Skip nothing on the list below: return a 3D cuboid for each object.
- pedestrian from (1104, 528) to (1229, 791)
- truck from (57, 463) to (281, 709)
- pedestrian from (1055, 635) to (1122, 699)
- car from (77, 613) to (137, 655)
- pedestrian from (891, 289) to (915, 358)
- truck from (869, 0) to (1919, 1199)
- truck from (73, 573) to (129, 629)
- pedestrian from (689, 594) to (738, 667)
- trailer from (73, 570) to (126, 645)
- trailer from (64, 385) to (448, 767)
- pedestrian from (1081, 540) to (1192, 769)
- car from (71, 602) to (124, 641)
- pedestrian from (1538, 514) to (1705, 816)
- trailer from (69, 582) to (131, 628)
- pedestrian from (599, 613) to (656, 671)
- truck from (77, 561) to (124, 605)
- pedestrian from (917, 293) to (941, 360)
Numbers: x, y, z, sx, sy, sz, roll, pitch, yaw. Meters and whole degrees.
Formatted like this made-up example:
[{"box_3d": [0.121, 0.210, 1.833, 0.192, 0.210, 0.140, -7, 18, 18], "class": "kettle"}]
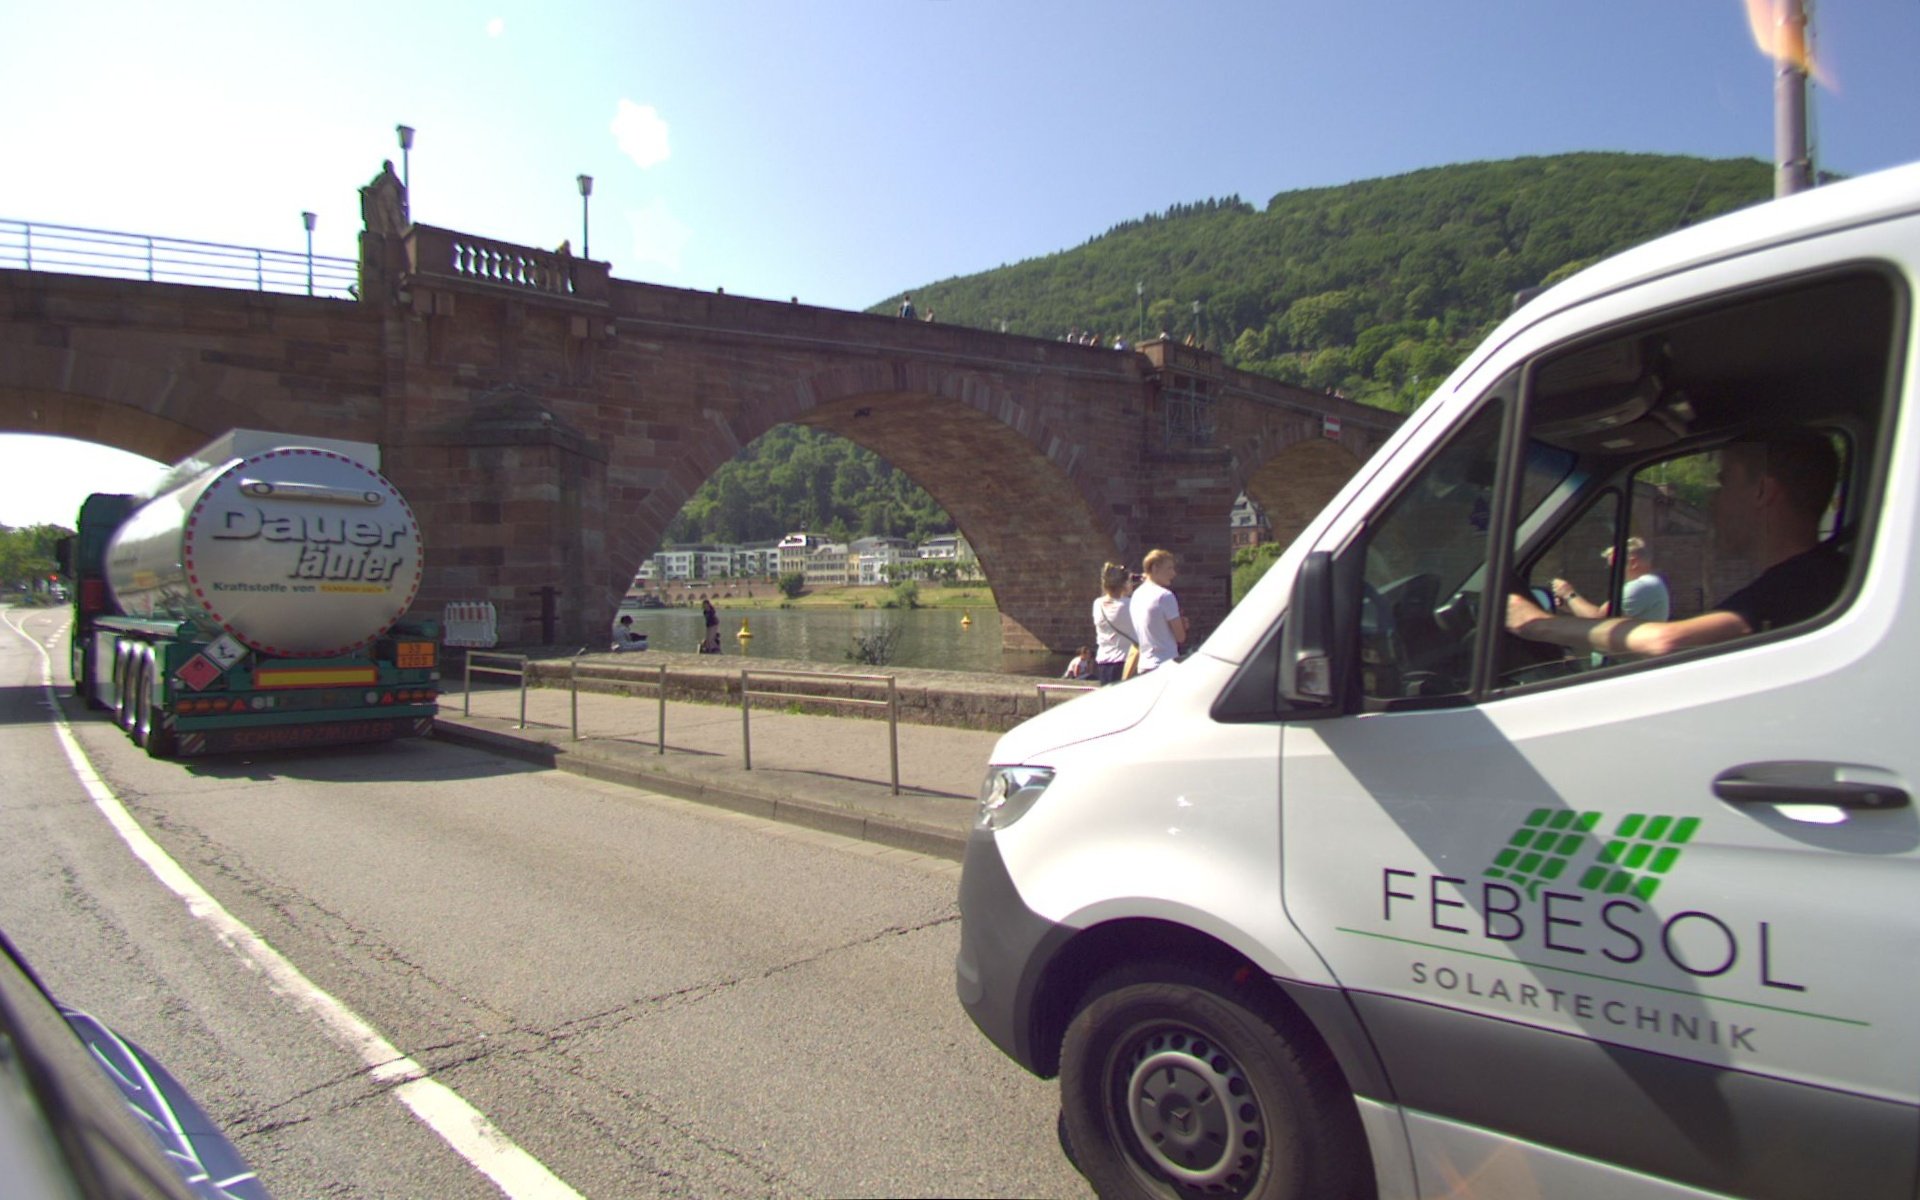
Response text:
[{"box_3d": [1.495, 0.401, 7.419, 0.513, 1.806, 0.824, -1, 0, -19], "class": "pedestrian"}, {"box_3d": [-14.704, -0.131, 18.636, 2.494, 3.777, 6.250, 2, -2, -44], "class": "truck"}, {"box_3d": [2.442, 1.261, 19.259, 0.954, 1.139, 0.832, 0, -1, -41], "class": "pedestrian"}, {"box_3d": [-31.914, 1.243, 37.838, 1.516, 1.447, 3.732, 2, -1, -43], "class": "car"}, {"box_3d": [-1.854, -8.964, 32.805, 0.639, 2.029, 0.461, 1, 0, 40], "class": "pedestrian"}, {"box_3d": [3.425, -0.288, 1.145, 7.605, 3.286, 2.352, -2, -3, 40], "class": "truck"}, {"box_3d": [-56.879, 0.019, 67.122, 2.609, 3.483, 7.885, 2, 0, -40], "class": "truck"}, {"box_3d": [-5.807, 0.712, 23.834, 0.774, 1.663, 0.779, -2, 0, 42], "class": "pedestrian"}, {"box_3d": [-39.876, 0.350, 46.884, 1.720, 3.345, 3.388, 2, -1, -41], "class": "trailer"}, {"box_3d": [-10.808, -0.146, 14.678, 11.536, 3.672, 2.495, -1, -2, 45], "class": "trailer"}, {"box_3d": [1.459, 0.426, 8.460, 0.535, 1.806, 0.824, -1, 0, -19], "class": "pedestrian"}, {"box_3d": [-43.012, 1.040, 50.431, 1.851, 1.841, 4.549, 2, -1, -42], "class": "car"}, {"box_3d": [4.038, 0.379, 6.228, 0.538, 1.735, 0.755, -1, 0, 7], "class": "pedestrian"}, {"box_3d": [-51.299, 0.255, 60.456, 2.663, 2.550, 6.959, 2, 0, -40], "class": "trailer"}, {"box_3d": [-7.349, 0.915, 22.351, 1.026, 1.239, 0.779, -2, 0, 43], "class": "pedestrian"}, {"box_3d": [-73.085, -1.397, 86.234, 2.608, 3.502, 11.129, 0, 0, -38], "class": "truck"}, {"box_3d": [-1.021, -9.117, 33.766, 0.639, 2.029, 0.461, 1, 0, 40], "class": "pedestrian"}]
